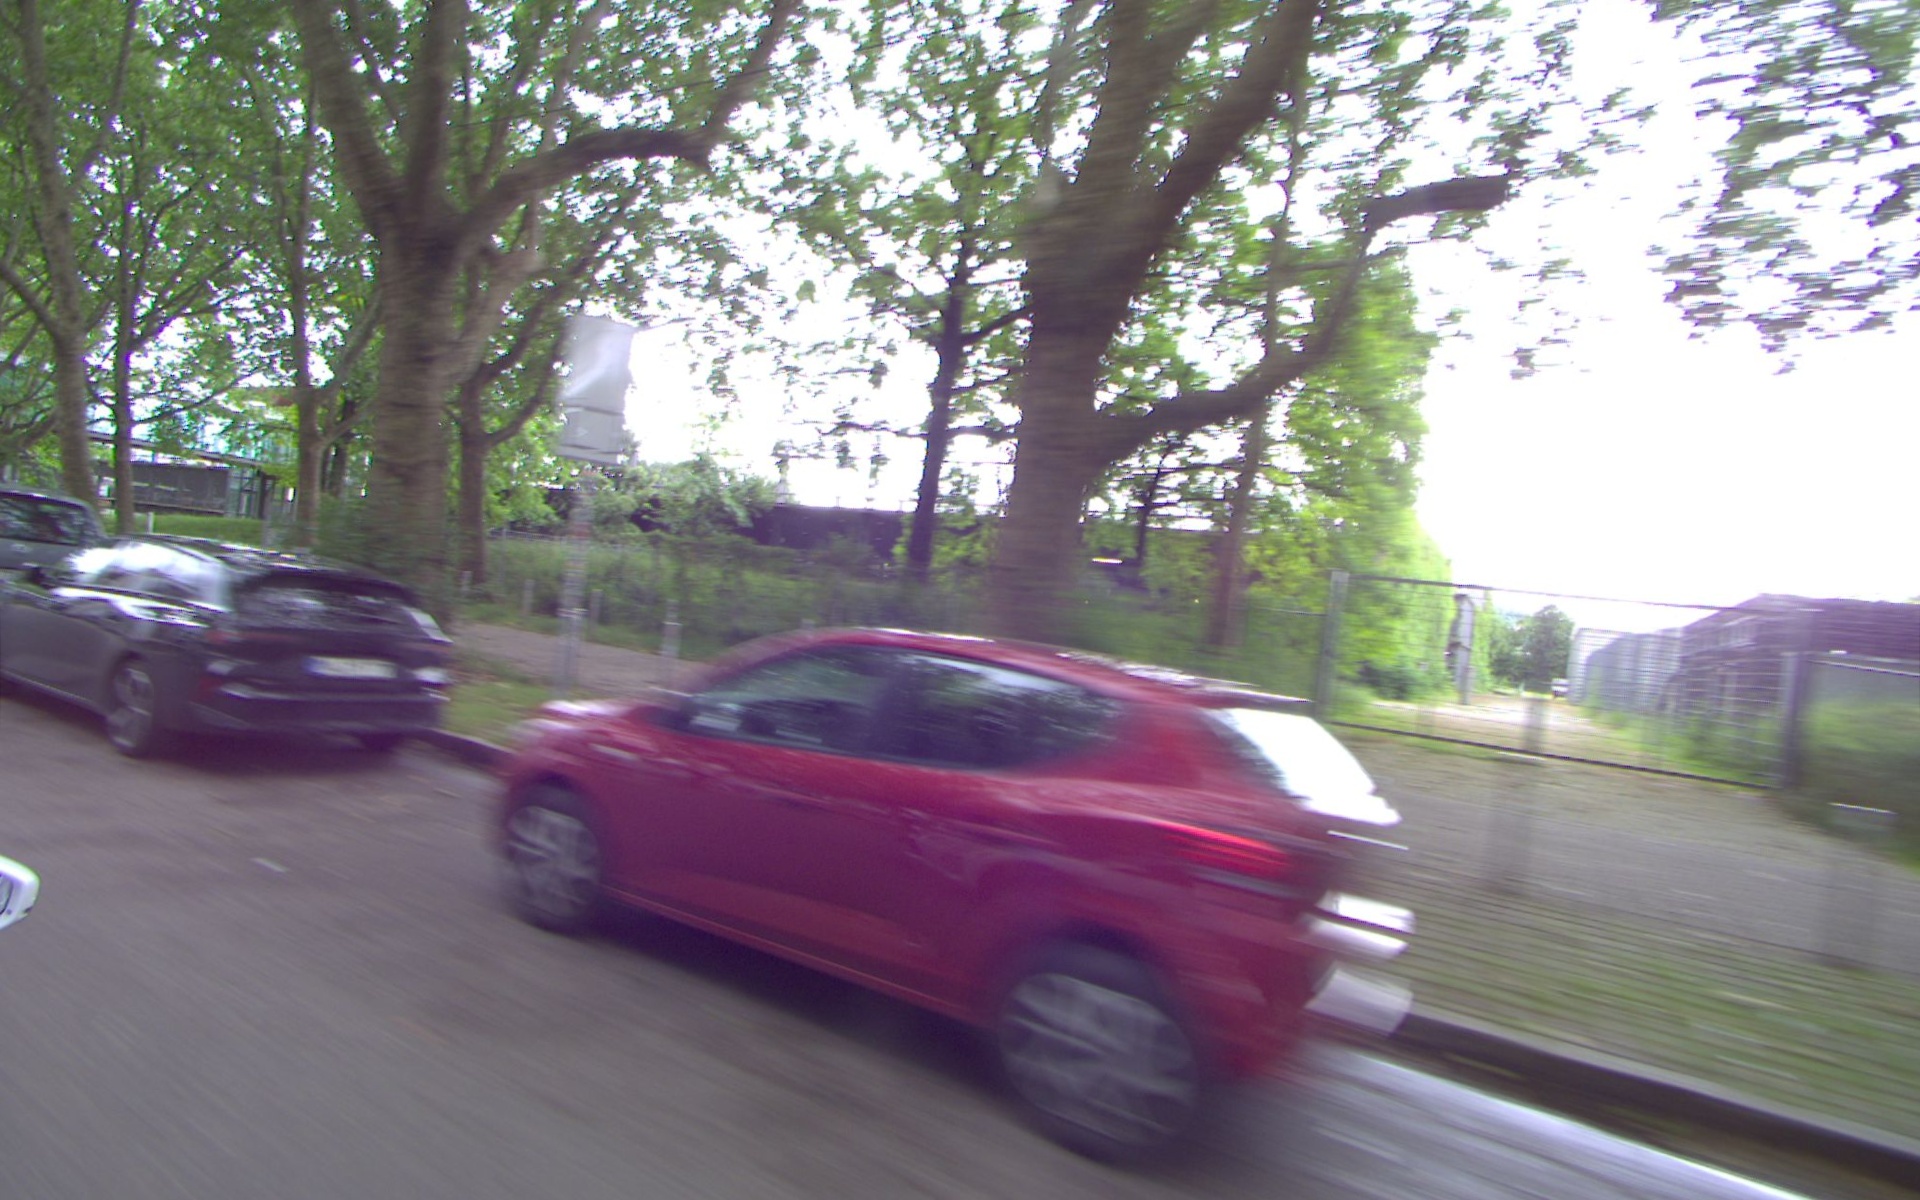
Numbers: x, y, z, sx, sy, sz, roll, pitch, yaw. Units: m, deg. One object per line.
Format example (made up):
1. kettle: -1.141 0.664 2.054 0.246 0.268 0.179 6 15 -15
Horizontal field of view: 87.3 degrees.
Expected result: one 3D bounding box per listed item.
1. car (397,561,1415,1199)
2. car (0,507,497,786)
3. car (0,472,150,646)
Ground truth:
1. car: -0.369 0.837 4.519 4.107 1.499 1.860 7 -1 31
2. car: -5.842 0.218 7.791 4.405 1.445 1.880 7 -1 32
3. car: -11.512 -0.630 11.426 4.651 1.700 1.985 6 -1 30
